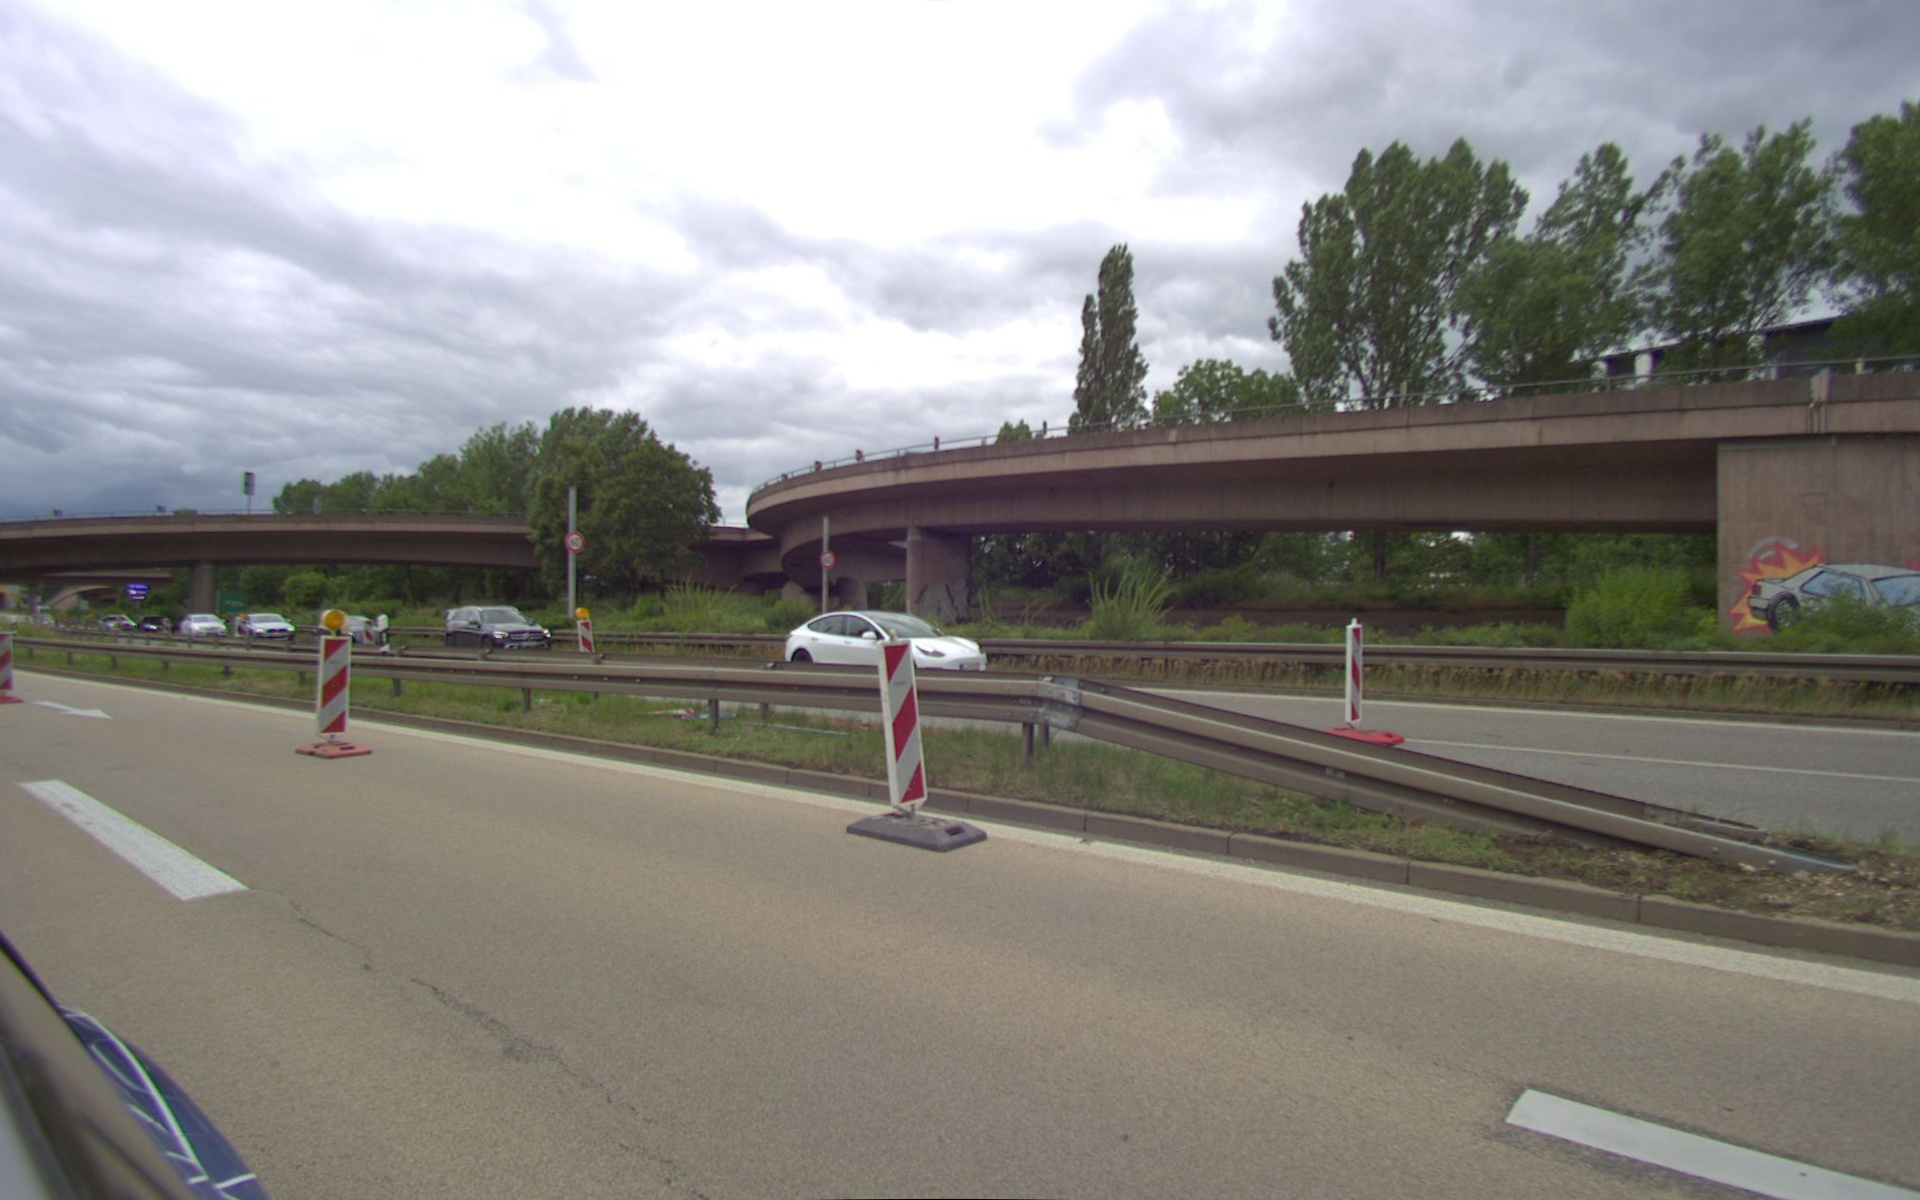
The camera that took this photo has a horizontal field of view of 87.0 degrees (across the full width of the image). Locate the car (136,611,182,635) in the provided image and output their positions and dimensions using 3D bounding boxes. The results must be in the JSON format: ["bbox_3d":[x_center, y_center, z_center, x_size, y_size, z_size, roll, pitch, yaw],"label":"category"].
[{"bbox_3d":[-57.057,1.618,72.053,4.293,1.606,1.971,-1,-2,43],"label":"car"}]

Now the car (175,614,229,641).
[{"bbox_3d":[-47.026,1.706,62.754,4.000,1.606,1.971,-1,-2,43],"label":"car"}]

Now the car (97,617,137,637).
[{"bbox_3d":[-67.755,2.161,81.337,4.293,1.606,1.971,-1,-2,43],"label":"car"}]

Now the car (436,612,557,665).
[{"bbox_3d":[-14.612,1.156,31.787,4.291,1.522,1.954,-1,0,42],"label":"car"}]

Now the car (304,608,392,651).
[{"bbox_3d":[-25.795,1.210,42.644,3.996,1.716,1.912,0,-2,39],"label":"car"}]

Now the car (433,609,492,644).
[{"bbox_3d":[-30.392,1.599,61.830,4.001,2.018,1.971,-1,-2,44],"label":"car"}]

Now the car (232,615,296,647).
[{"bbox_3d":[-35.087,1.538,50.982,4.000,1.523,1.778,0,-1,43],"label":"car"}]

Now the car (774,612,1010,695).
[{"bbox_3d":[-1.416,0.951,19.585,4.599,1.424,1.952,-1,-2,43],"label":"car"}]
